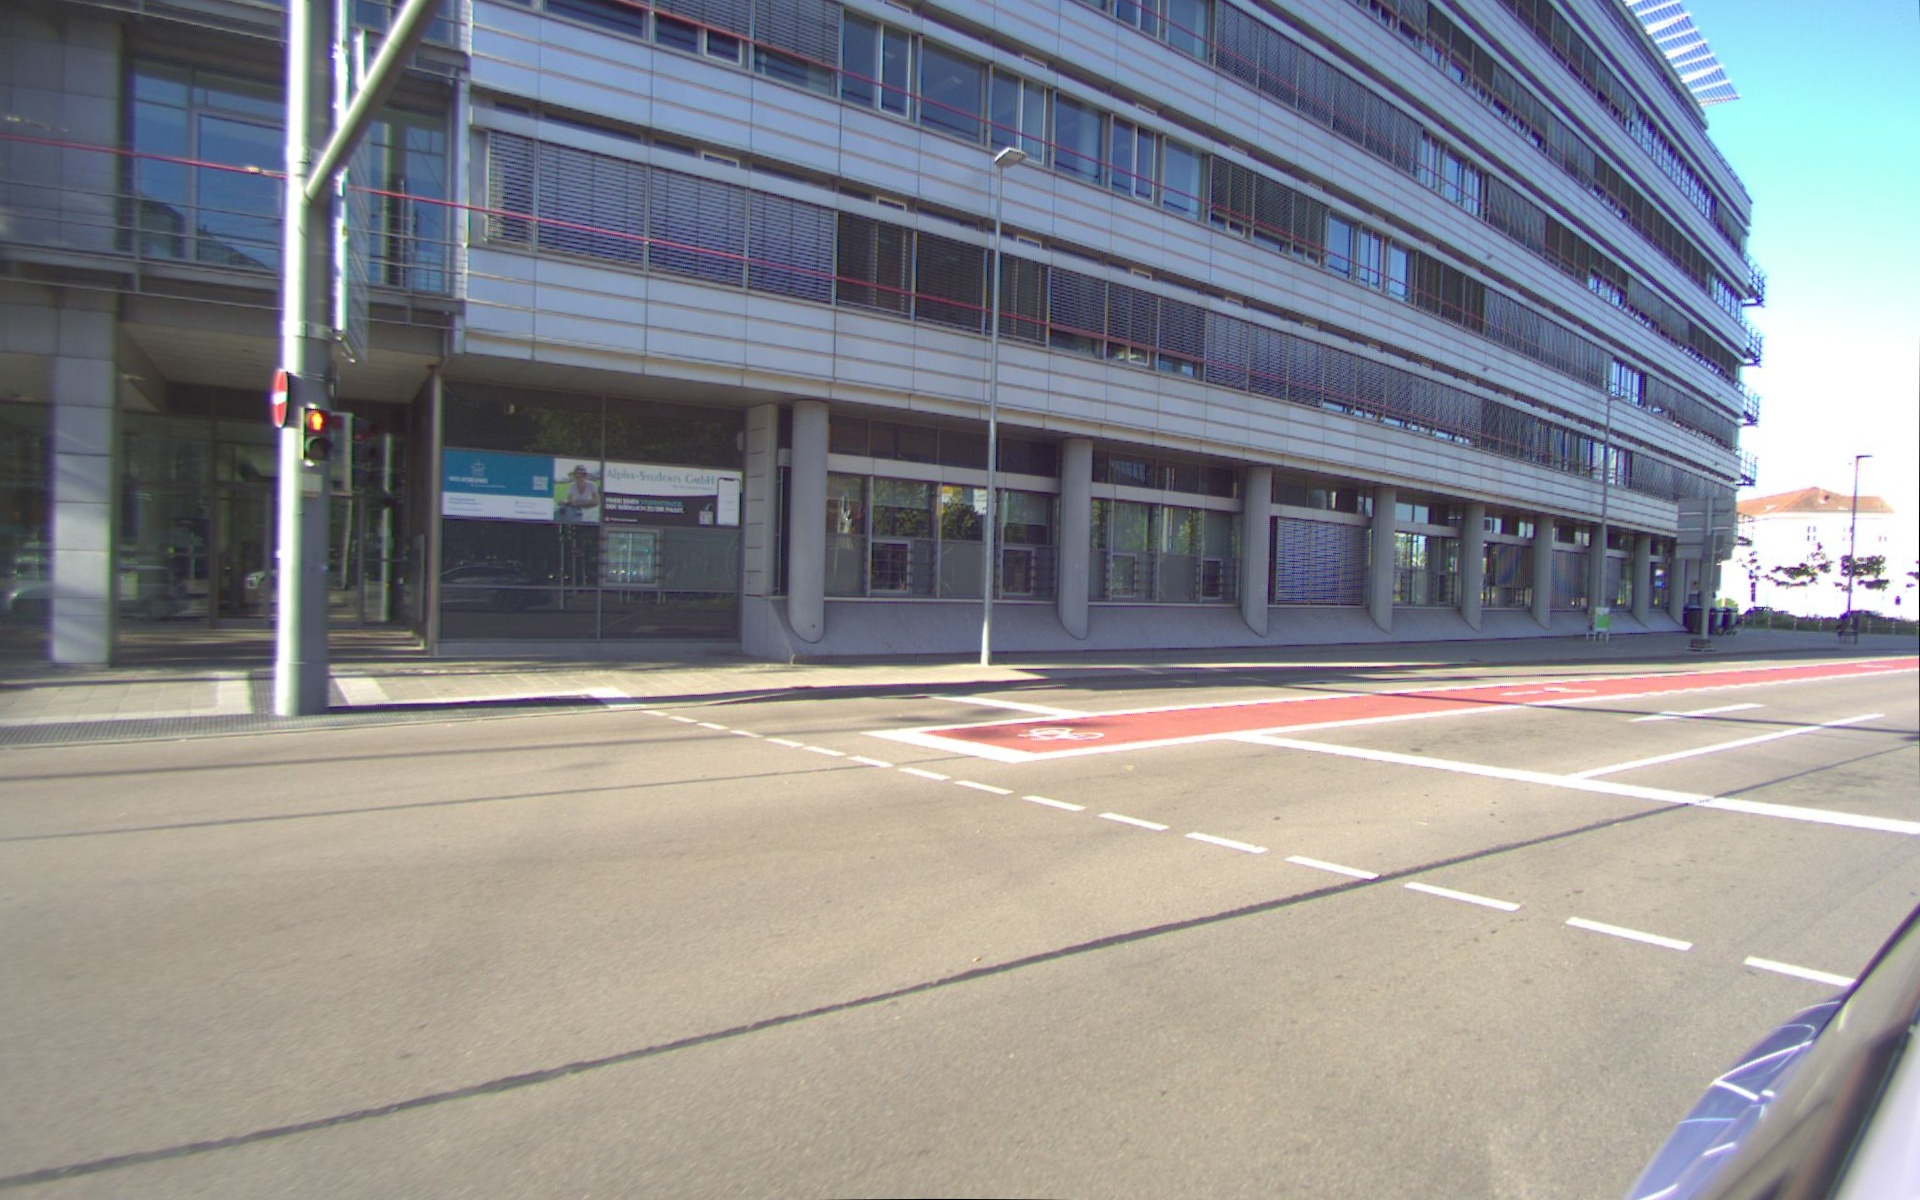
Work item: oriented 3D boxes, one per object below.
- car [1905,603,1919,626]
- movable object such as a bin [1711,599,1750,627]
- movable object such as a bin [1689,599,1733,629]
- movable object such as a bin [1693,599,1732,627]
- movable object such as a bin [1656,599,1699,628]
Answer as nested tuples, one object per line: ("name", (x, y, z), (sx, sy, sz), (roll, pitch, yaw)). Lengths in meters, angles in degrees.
("car", (67.399, 1.091, 69.321), (1.707, 1.551, 3.802), (2, 1, 0))
("movable object such as a bin", (38.168, 0.654, 50.119), (1.304, 1.317, 1.174), (1, 1, -35))
("movable object such as a bin", (34.911, 0.643, 47.049), (1.152, 1.317, 1.329), (1, 1, -36))
("movable object such as a bin", (36.900, 0.638, 49.628), (1.304, 1.317, 1.174), (1, 1, -35))
("movable object such as a bin", (34.138, 0.624, 48.174), (1.152, 1.317, 1.329), (1, 1, -36))
